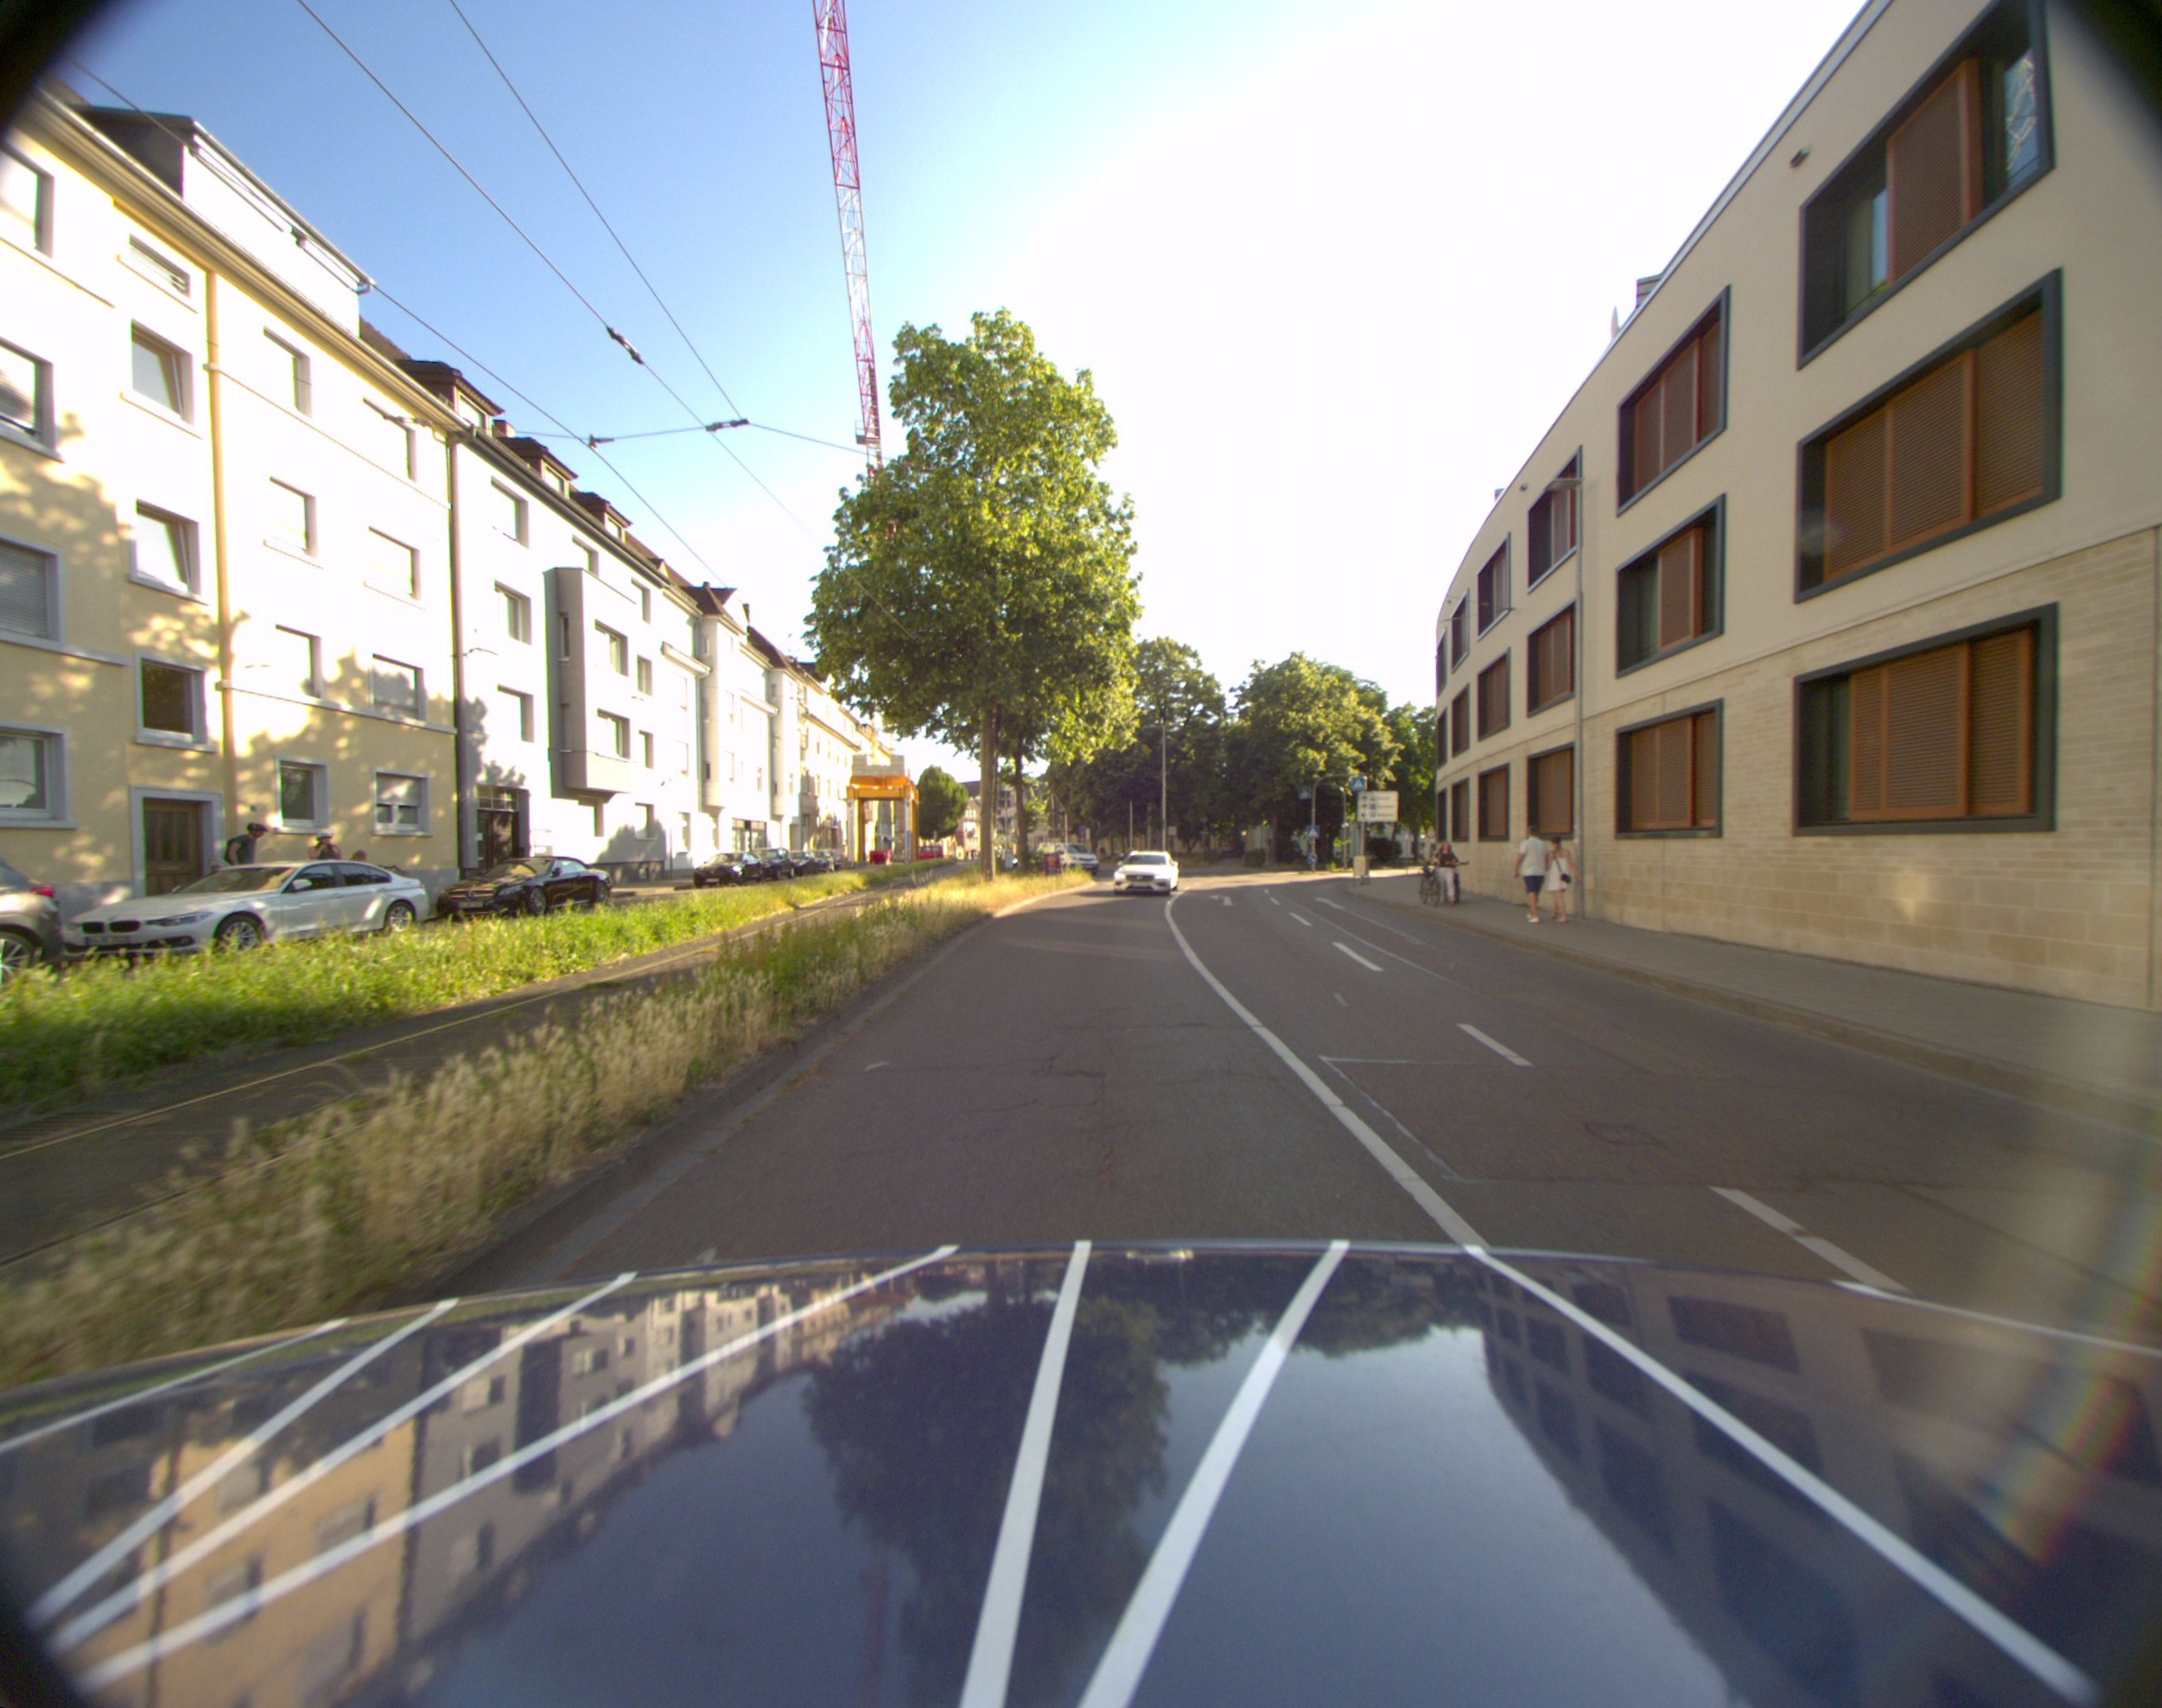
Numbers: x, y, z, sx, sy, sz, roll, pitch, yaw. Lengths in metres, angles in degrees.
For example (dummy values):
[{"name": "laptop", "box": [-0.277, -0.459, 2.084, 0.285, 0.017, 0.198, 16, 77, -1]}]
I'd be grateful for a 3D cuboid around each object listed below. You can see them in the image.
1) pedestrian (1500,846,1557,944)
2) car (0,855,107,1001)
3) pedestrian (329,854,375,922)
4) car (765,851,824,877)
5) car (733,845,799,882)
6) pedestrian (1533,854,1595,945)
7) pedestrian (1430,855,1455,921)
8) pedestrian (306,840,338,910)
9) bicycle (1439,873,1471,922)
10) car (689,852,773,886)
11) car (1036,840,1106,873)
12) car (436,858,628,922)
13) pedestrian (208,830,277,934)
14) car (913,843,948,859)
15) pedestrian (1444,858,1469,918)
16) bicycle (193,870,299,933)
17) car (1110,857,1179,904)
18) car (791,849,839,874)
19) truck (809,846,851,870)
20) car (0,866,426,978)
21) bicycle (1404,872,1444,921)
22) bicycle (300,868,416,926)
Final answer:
[{"name": "pedestrian", "box": [8.658, 0.760, 14.739, 0.606, 1.838, 0.993, 0, 1, 7]}, {"name": "car", "box": [-12.657, 0.836, 6.878, 2.000, 1.563, 4.637, 1, 1, -7]}, {"name": "pedestrian", "box": [-15.628, 0.720, 16.290, 0.525, 1.432, 0.461, 0, 1, -6]}, {"name": "car", "box": [-16.256, 0.571, 43.265, 1.999, 1.378, 4.207, 1, 0, -4]}, {"name": "car", "box": [-15.737, 0.462, 38.205, 2.000, 1.738, 4.206, 1, 0, -7]}, {"name": "pedestrian", "box": [9.309, 0.852, 14.673, 0.703, 1.704, 0.843, 0, 1, 7]}, {"name": "pedestrian", "box": [9.186, 0.843, 19.307, 0.474, 1.638, 0.603, 1, 1, 19]}, {"name": "pedestrian", "box": [-16.462, 0.448, 16.483, 0.305, 1.506, 0.442, 1, 1, -14]}, {"name": "bicycle", "box": [9.634, 1.093, 19.609, 0.376, 1.160, 1.839, -1, -1, 16]}, {"name": "car", "box": [-15.114, 0.620, 33.091, 2.000, 1.378, 4.443, 1, 0, -7]}, {"name": "car", "box": [-0.669, 0.147, 44.552, 2.003, 1.843, 4.890, 1, 0, -29]}, {"name": "car", "box": [-13.592, 0.820, 19.222, 2.000, 1.378, 4.443, 1, 0, -7]}, {"name": "pedestrian", "box": [-16.501, 0.530, 14.962, 0.613, 2.002, 0.649, 0, 1, -6]}, {"name": "car", "box": [-18.586, -0.320, 93.839, 4.072, 1.910, 1.998, 1, 0, -9]}, {"name": "pedestrian", "box": [9.921, 0.882, 20.085, 0.474, 1.555, 0.603, -1, 0, 18]}, {"name": "bicycle", "box": [-16.400, 0.907, 14.976, 0.536, 1.125, 1.514, 1, 2, -7]}, {"name": "car", "box": [2.315, 0.858, 26.637, 1.851, 1.455, 4.777, 1, 0, 11]}, {"name": "car", "box": [-16.791, 0.462, 48.220, 2.000, 1.444, 4.094, 1, 0, -6]}, {"name": "truck", "box": [-17.645, 0.268, 53.674, 2.000, 1.576, 4.094, 1, 0, -6]}, {"name": "car", "box": [-13.144, 0.920, 12.052, 2.000, 1.378, 4.443, 1, 0, -7]}, {"name": "bicycle", "box": [8.880, 1.072, 19.749, 0.441, 1.171, 1.968, 0, -1, 9]}, {"name": "bicycle", "box": [-15.664, 0.896, 16.556, 0.536, 1.125, 2.306, 0, 1, -7]}]
